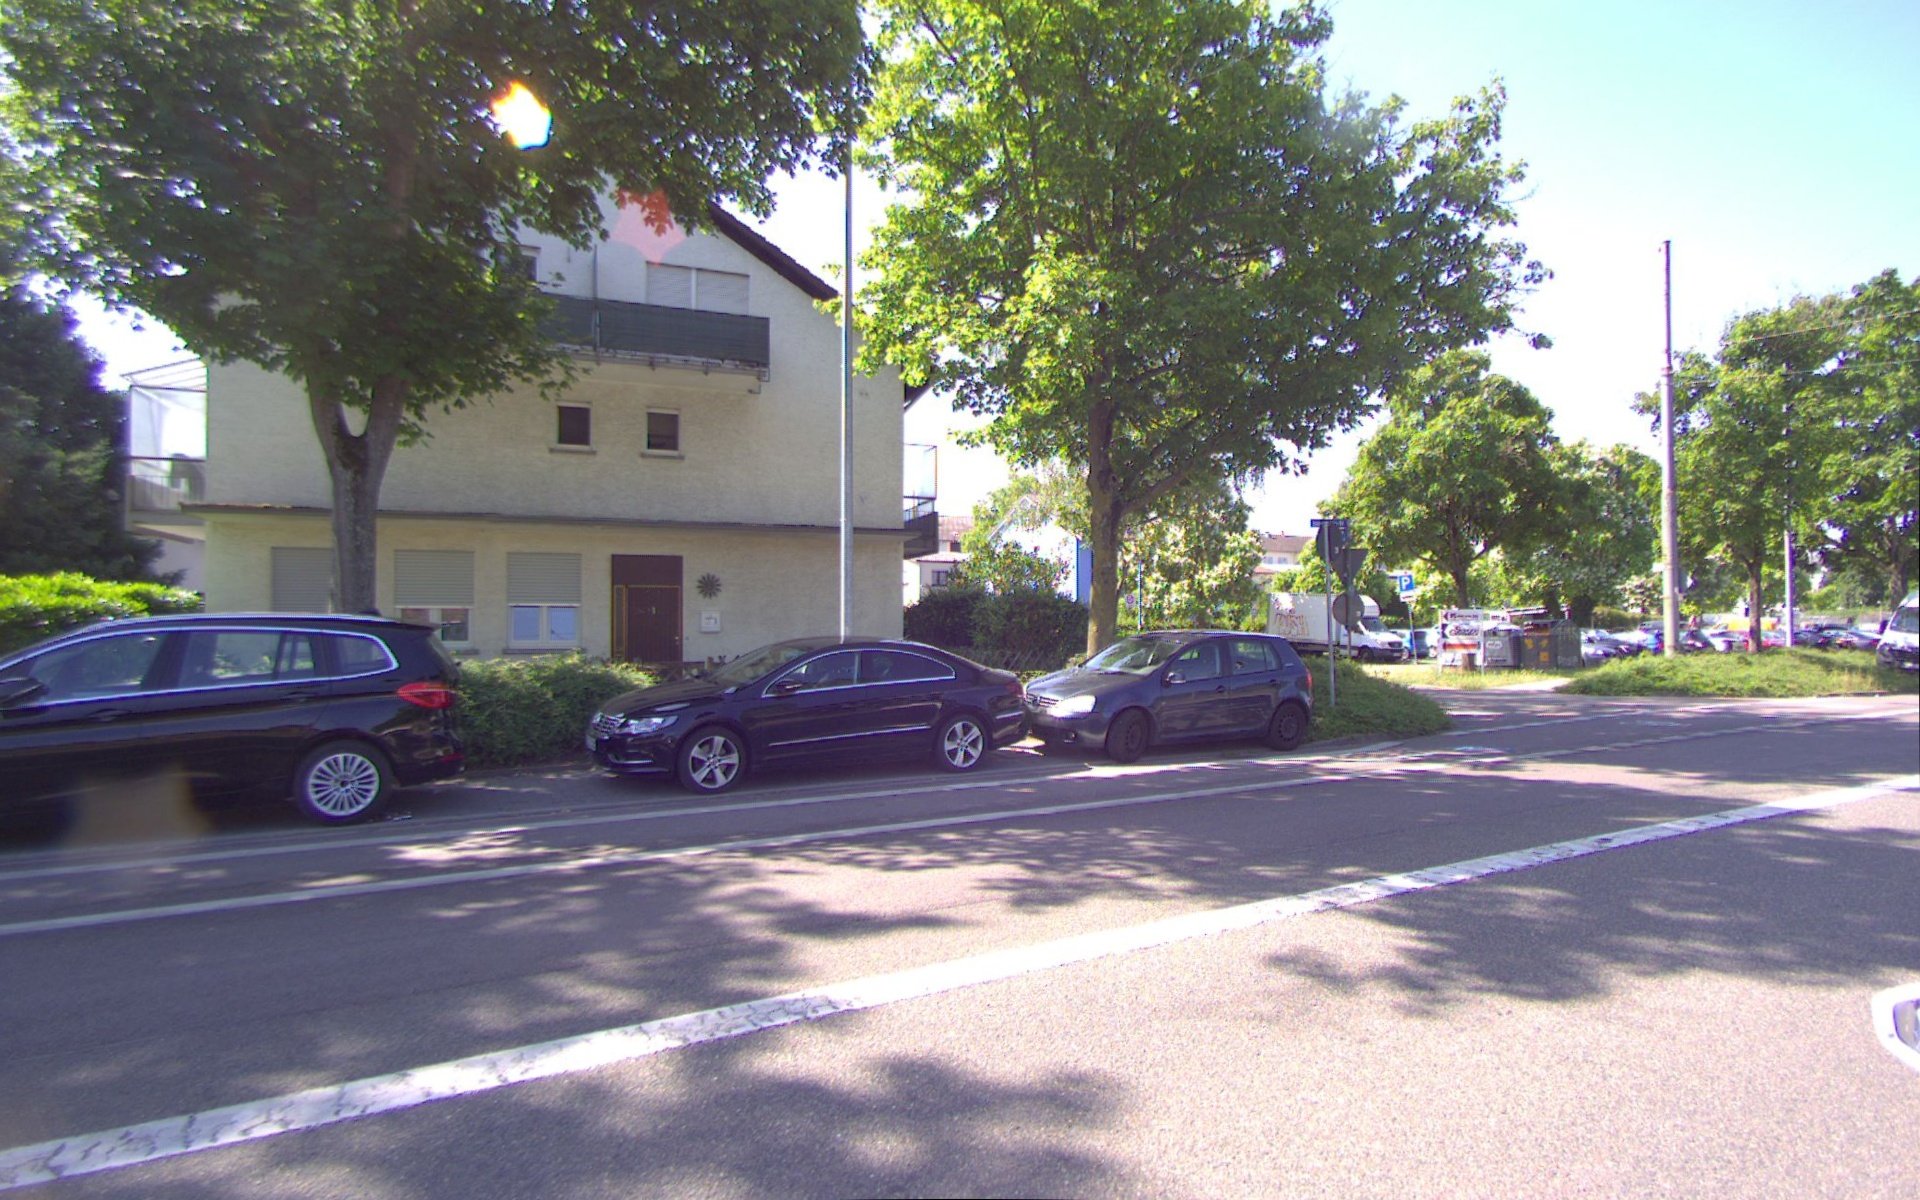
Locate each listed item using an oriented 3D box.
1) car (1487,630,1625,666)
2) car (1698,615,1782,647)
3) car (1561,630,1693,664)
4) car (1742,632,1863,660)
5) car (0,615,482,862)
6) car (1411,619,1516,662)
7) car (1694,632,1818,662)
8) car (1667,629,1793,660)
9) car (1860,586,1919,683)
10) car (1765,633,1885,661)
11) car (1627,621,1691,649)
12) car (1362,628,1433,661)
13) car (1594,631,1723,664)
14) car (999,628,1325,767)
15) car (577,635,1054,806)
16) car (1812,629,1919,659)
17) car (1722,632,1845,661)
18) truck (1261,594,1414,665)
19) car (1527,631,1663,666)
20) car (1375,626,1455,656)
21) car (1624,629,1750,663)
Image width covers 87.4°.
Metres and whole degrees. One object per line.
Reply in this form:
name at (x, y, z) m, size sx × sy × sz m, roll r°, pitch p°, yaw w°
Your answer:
car at (21.443, 1.694, 36.280) m, size 1.751 × 1.241 × 3.967 m, roll 1°, pitch -2°, yaw -31°
car at (54.800, 2.138, 70.652) m, size 1.980 × 2.040 × 4.228 m, roll 2°, pitch 0°, yaw -35°
car at (25.849, 1.785, 39.061) m, size 1.748 × 1.241 × 3.973 m, roll 1°, pitch -2°, yaw -27°
car at (39.328, 2.112, 46.967) m, size 1.748 × 1.241 × 3.973 m, roll 1°, pitch -2°, yaw -27°
car at (-6.402, 0.938, 7.685) m, size 4.836 × 1.627 × 1.753 m, roll 1°, pitch -1°, yaw -31°
car at (27.039, 2.140, 54.081) m, size 1.979 × 2.040 × 4.663 m, roll 2°, pitch 0°, yaw -34°
car at (35.227, 2.051, 44.555) m, size 1.748 × 1.241 × 3.973 m, roll 1°, pitch -2°, yaw -27°
car at (33.059, 1.884, 43.231) m, size 1.748 × 1.281 × 3.973 m, roll 1°, pitch -2°, yaw -27°
car at (27.927, 0.942, 28.047) m, size 6.226 × 2.534 × 2.050 m, roll 1°, pitch 1°, yaw -28°
car at (41.193, 2.227, 47.919) m, size 1.748 × 1.241 × 3.973 m, roll 1°, pitch -2°, yaw -27°
car at (49.083, 2.444, 70.595) m, size 1.535 × 1.901 × 3.406 m, roll 1°, pitch -2°, yaw -31°
car at (22.495, 2.246, 51.742) m, size 1.537 × 1.452 × 3.123 m, roll 0°, pitch 2°, yaw -25°
car at (28.443, 1.906, 41.037) m, size 1.748 × 1.241 × 3.973 m, roll 1°, pitch -2°, yaw -27°
car at (2.610, 1.133, 12.787) m, size 3.955 × 1.470 × 1.634 m, roll 1°, pitch 1°, yaw -29°
car at (-1.413, 1.108, 10.621) m, size 4.726 × 1.398 × 1.682 m, roll 1°, pitch 0°, yaw -31°
car at (45.613, 2.176, 50.418) m, size 1.748 × 1.463 × 3.973 m, roll 1°, pitch -2°, yaw -27°
car at (37.452, 2.076, 45.789) m, size 1.748 × 1.241 × 3.973 m, roll 1°, pitch -2°, yaw -27°
truck at (18.241, 1.342, 49.017) m, size 2.206 × 3.059 × 7.103 m, roll 1°, pitch 1°, yaw -31°
car at (23.611, 1.767, 37.493) m, size 1.751 × 1.241 × 3.967 m, roll 1°, pitch -2°, yaw -31°
car at (24.266, 2.157, 53.677) m, size 1.536 × 1.374 × 3.760 m, roll 0°, pitch 2°, yaw -25°
car at (30.534, 1.891, 42.309) m, size 1.748 × 1.368 × 3.973 m, roll 1°, pitch -2°, yaw -27°
